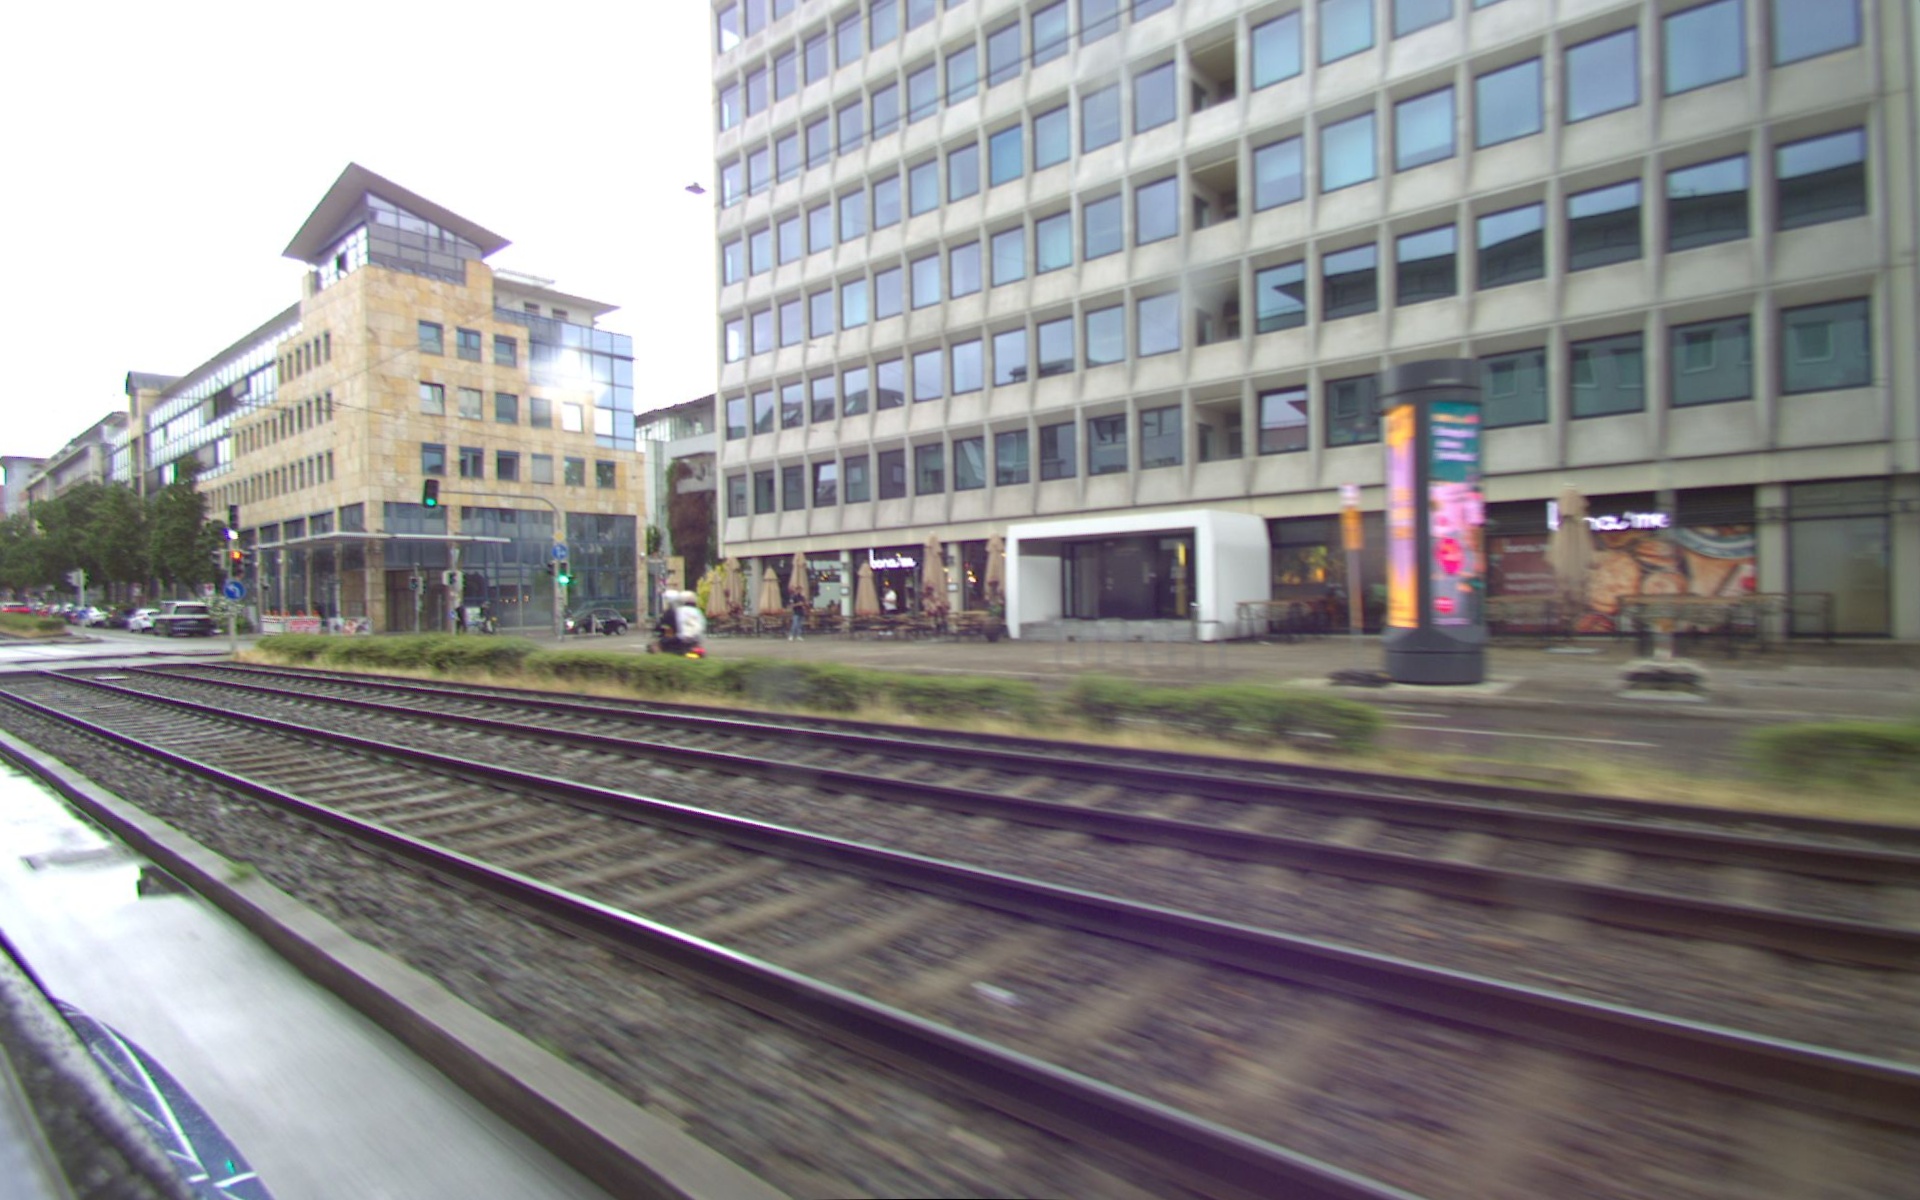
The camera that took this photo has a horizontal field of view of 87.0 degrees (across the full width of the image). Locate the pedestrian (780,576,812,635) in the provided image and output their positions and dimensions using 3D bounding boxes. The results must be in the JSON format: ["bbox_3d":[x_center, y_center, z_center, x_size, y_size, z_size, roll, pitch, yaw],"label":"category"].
[{"bbox_3d":[-5.226,0.175,32.305,0.843,1.836,0.559,-1,0,37],"label":"pedestrian"}]

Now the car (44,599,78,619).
[{"bbox_3d":[-74.839,0.731,84.225,4.620,1.552,1.632,0,0,42],"label":"car"}]

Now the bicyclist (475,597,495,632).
[{"bbox_3d":[-25.004,0.759,53.272,0.783,1.818,0.701,-1,0,41],"label":"bicyclist"}]

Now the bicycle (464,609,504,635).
[{"bbox_3d":[-25.062,1.158,53.305,0.659,1.321,1.746,-1,0,40],"label":"bicycle"}]

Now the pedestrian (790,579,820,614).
[{"bbox_3d":[-7.020,-0.168,45.887,0.964,1.544,0.885,-1,0,39],"label":"pedestrian"}]

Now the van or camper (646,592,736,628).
[{"bbox_3d":[-16.389,0.586,61.853,2.095,2.077,5.031,-1,0,40],"label":"van or camper"}]

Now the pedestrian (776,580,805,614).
[{"bbox_3d":[-7.791,-0.127,46.534,0.896,1.544,0.952,-1,0,41],"label":"pedestrian"}]

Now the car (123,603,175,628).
[{"bbox_3d":[-50.104,0.943,62.499,4.252,1.497,1.672,-1,0,40],"label":"car"}]

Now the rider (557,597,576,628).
[{"bbox_3d":[-22.227,0.704,57.117,0.783,1.688,0.701,-1,0,41],"label":"rider"}]

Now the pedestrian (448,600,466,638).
[{"bbox_3d":[-24.748,0.928,49.800,0.667,1.794,0.705,-1,0,-14],"label":"pedestrian"}]

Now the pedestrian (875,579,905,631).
[{"bbox_3d":[-2.405,0.156,34.746,0.843,1.762,0.559,-1,0,37],"label":"pedestrian"}]

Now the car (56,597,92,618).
[{"bbox_3d":[-69.872,0.606,79.765,4.291,1.613,1.632,0,0,42],"label":"car"}]

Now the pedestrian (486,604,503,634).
[{"bbox_3d":[-26.043,1.076,56.598,0.703,1.648,0.573,-1,2,41],"label":"pedestrian"}]

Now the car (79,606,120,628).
[{"bbox_3d":[-61.679,1.171,72.528,4.191,1.509,1.632,0,0,42],"label":"car"}]

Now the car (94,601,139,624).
[{"bbox_3d":[-57.793,0.847,69.322,3.996,1.497,1.672,-1,0,40],"label":"car"}]

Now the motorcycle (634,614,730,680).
[{"bbox_3d":[-4.977,0.807,18.024,1.931,1.067,0.734,0,1,43],"label":"motorcycle"}]

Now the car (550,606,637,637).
[{"bbox_3d":[-19.476,1.123,53.896,1.890,1.541,3.945,-1,0,42],"label":"car"}]

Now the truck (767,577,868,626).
[{"bbox_3d":[-9.631,0.039,69.128,2.459,3.187,7.078,-1,0,39],"label":"truck"}]

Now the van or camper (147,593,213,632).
[{"bbox_3d":[-44.290,0.656,57.426,5.195,2.012,1.996,1,2,41],"label":"van or camper"}]

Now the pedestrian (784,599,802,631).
[{"bbox_3d":[-7.129,0.643,43.136,0.553,1.332,0.517,0,1,42],"label":"pedestrian"}]

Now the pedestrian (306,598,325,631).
[{"bbox_3d":[-35.586,0.790,55.869,0.679,1.828,0.693,-1,0,43],"label":"pedestrian"}]

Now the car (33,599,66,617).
[{"bbox_3d":[-79.140,0.668,87.983,4.620,1.552,1.632,0,0,42],"label":"car"}]

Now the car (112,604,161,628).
[{"bbox_3d":[-54.162,1.072,66.549,4.291,1.497,1.672,-1,0,39],"label":"car"}]

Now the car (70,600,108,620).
[{"bbox_3d":[-65.584,0.736,76.169,4.291,1.509,1.632,0,0,42],"label":"car"}]

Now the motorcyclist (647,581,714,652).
[{"bbox_3d":[-4.977,0.282,18.015,0.970,1.226,0.733,0,1,43],"label":"motorcyclist"}]
